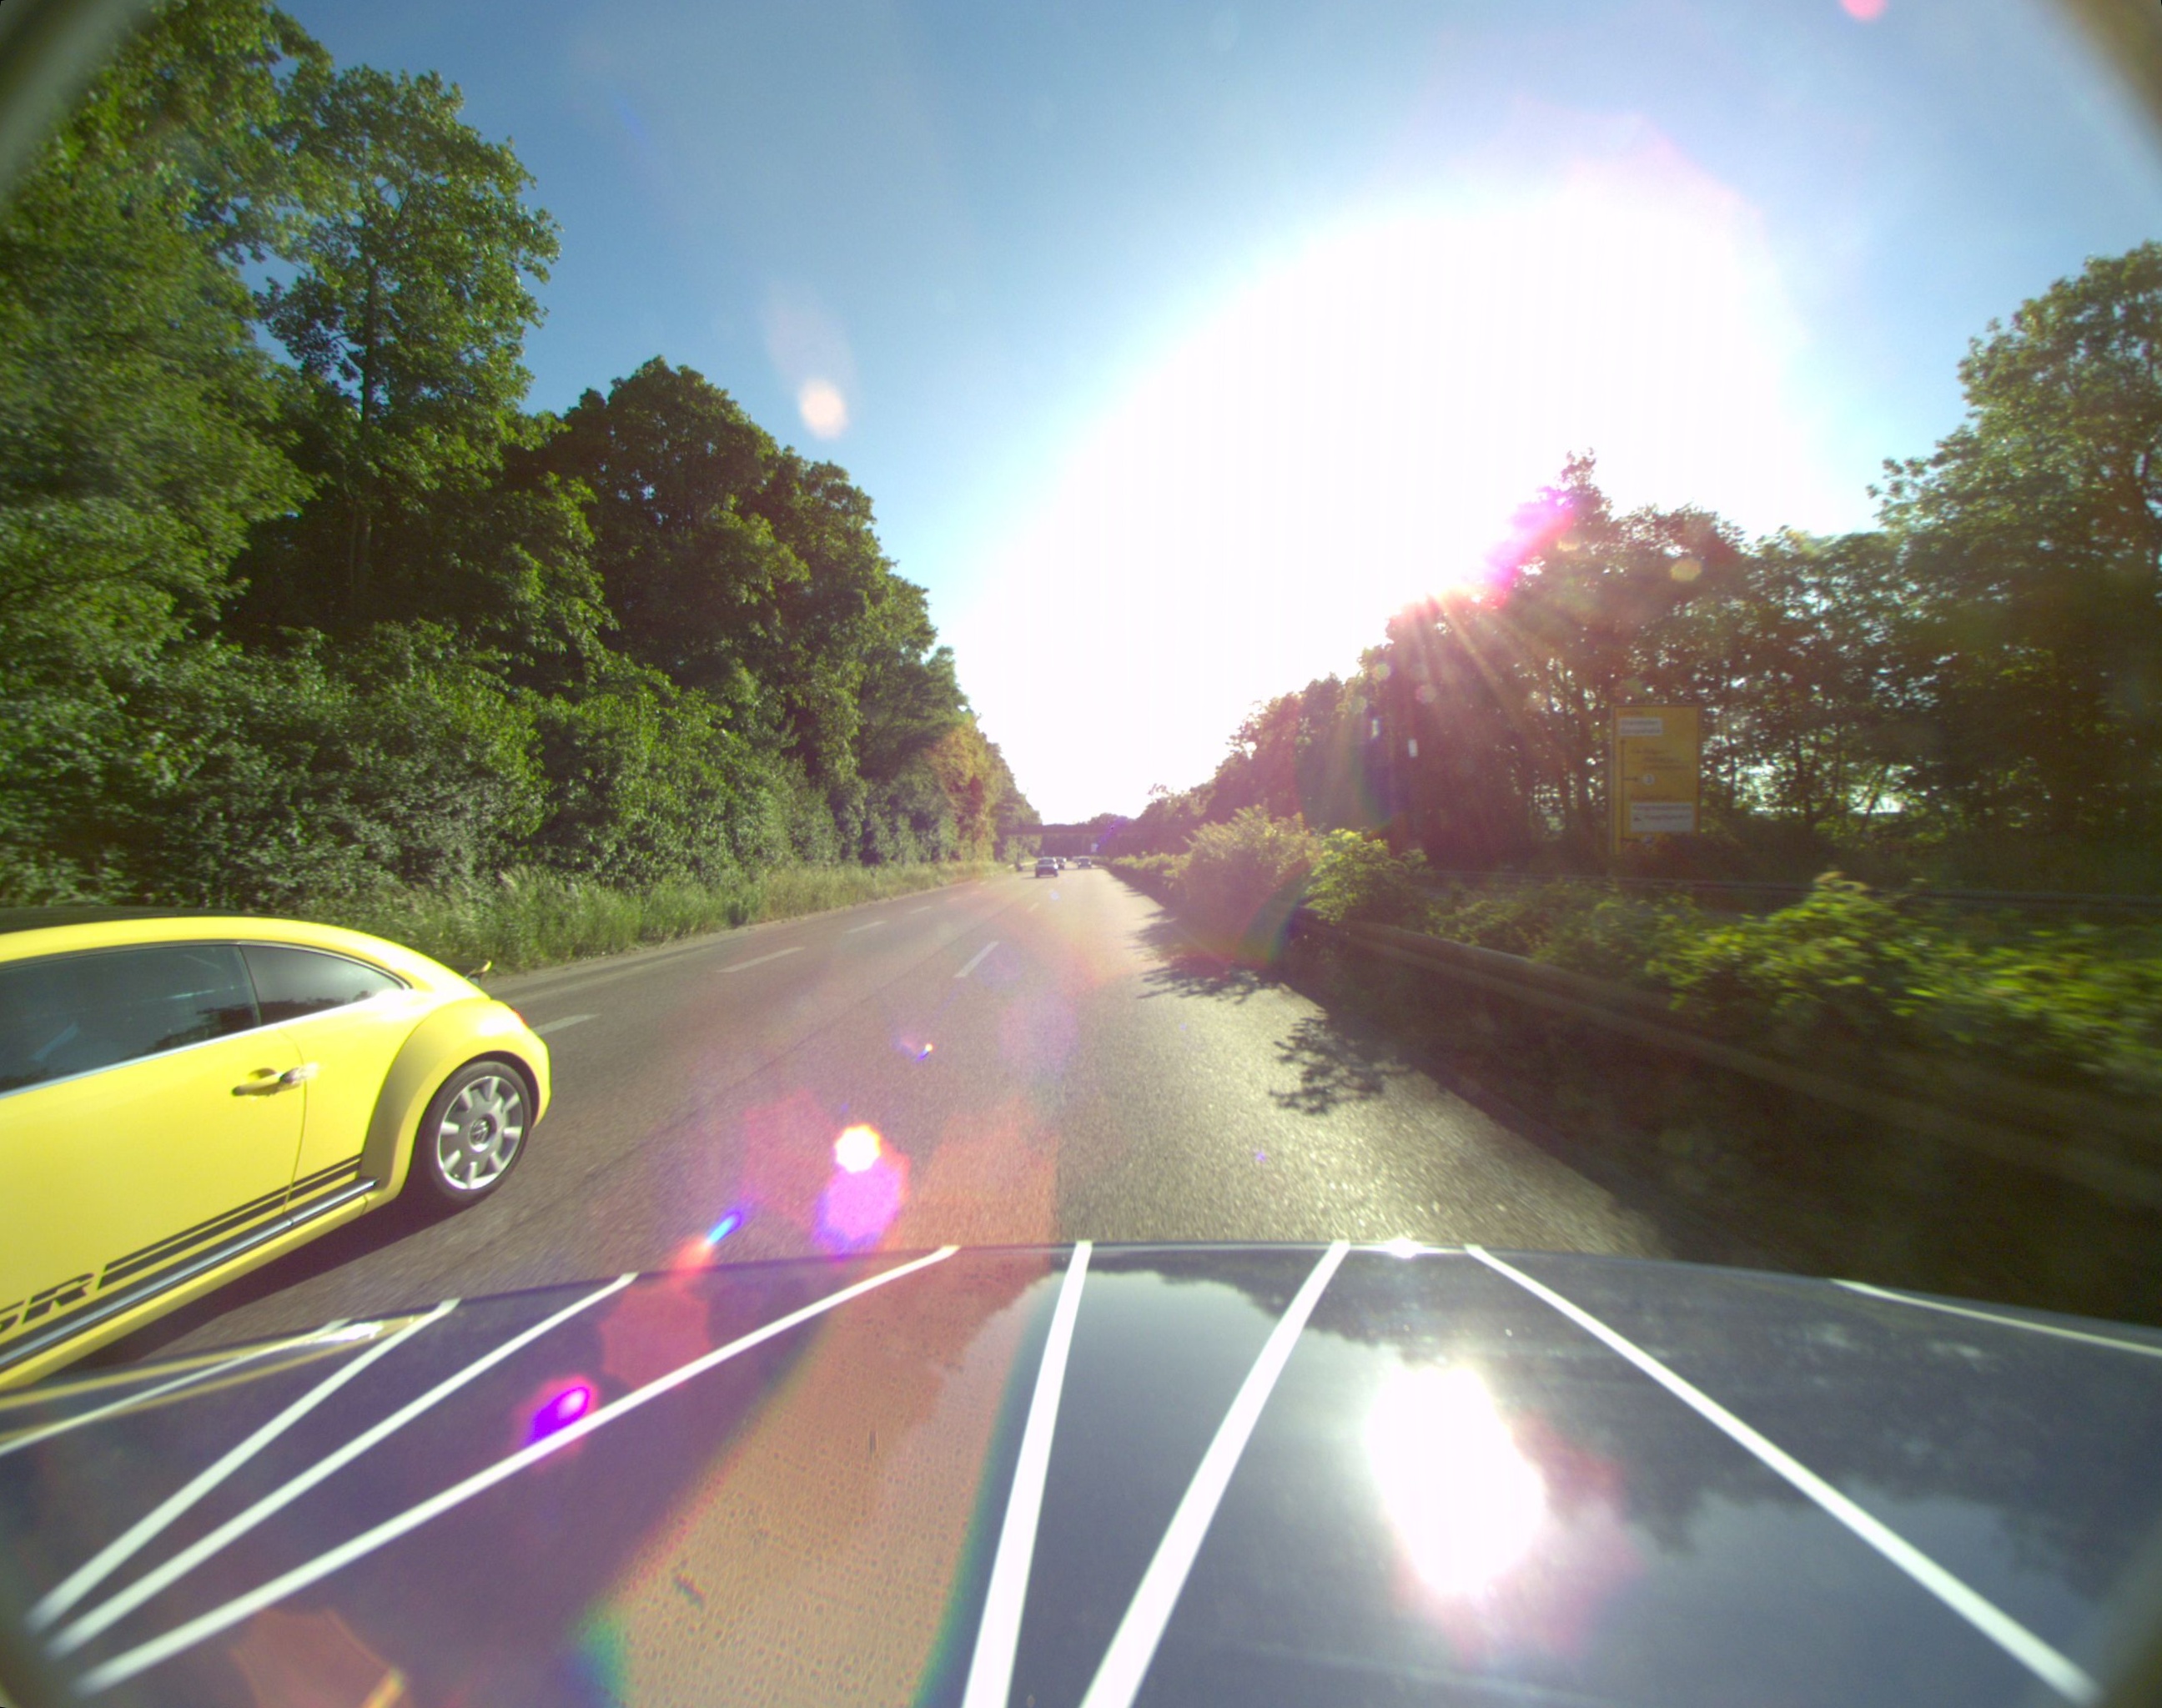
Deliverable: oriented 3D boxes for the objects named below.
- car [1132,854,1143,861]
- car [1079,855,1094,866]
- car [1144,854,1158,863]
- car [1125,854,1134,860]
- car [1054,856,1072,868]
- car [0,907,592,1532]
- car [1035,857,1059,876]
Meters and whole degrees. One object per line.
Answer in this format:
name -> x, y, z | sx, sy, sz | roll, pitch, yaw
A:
car -> 12.462, 0.785, 168.210 | 1.966, 1.441, 4.583 | -2, 0, -1
car -> 0.744, 0.852, 103.889 | 1.904, 1.453, 4.355 | -1, 0, -1
car -> 12.291, 0.823, 134.084 | 1.966, 1.441, 4.325 | -2, 0, -1
car -> 12.361, 0.810, 195.695 | 1.966, 1.441, 4.706 | -2, 0, 0
car -> -2.360, 0.977, 98.202 | 1.802, 1.453, 4.353 | -1, 0, -7
car -> -3.772, 1.064, 2.161 | 1.884, 1.453, 4.356 | -2, 0, 0
car -> -2.743, 0.974, 61.782 | 1.801, 1.453, 4.355 | -2, 0, -1
